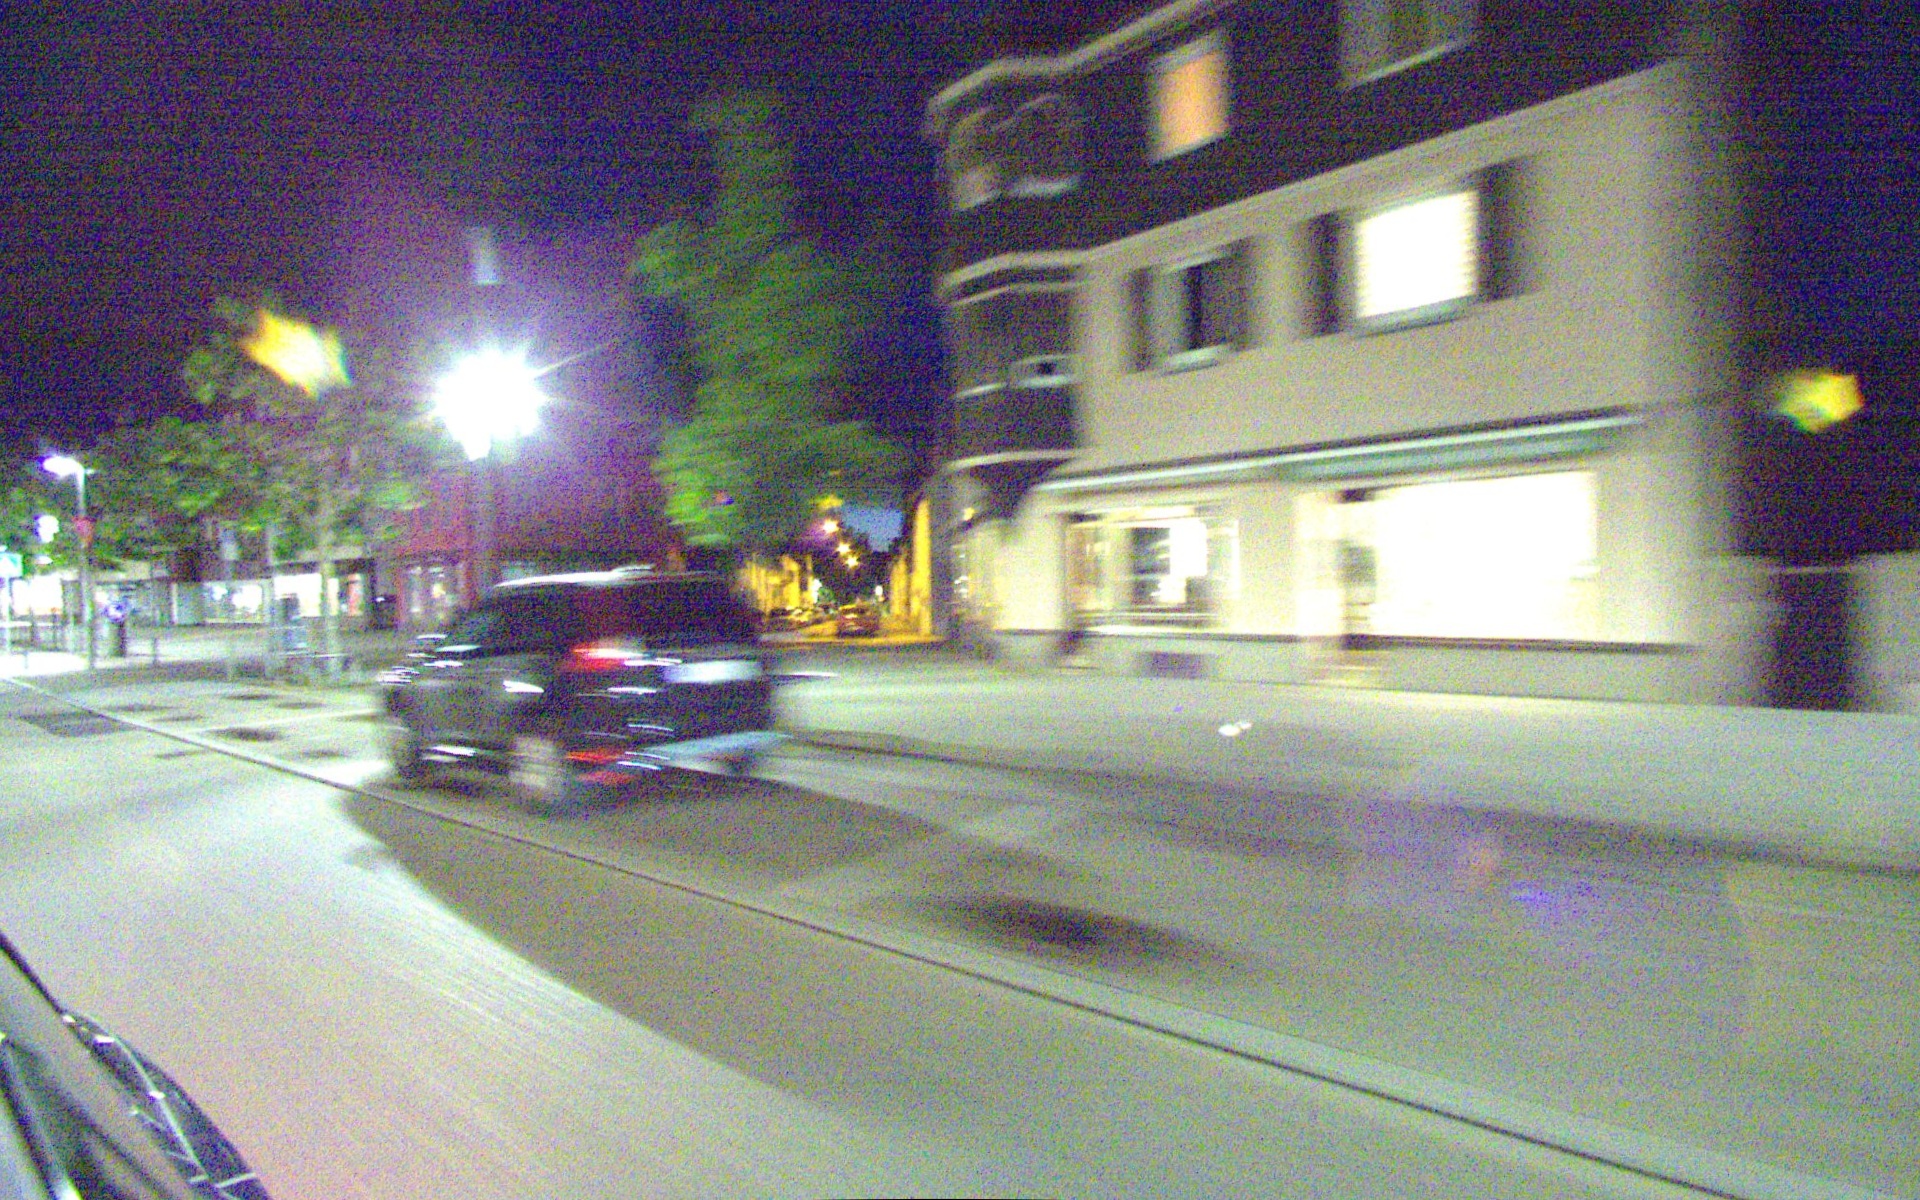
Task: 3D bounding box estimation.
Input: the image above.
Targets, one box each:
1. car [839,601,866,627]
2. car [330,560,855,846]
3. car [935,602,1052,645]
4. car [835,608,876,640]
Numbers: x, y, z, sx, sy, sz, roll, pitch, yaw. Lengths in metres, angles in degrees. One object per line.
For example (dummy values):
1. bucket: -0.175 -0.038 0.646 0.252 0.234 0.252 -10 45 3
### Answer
1. car: -6.921 0.905 65.467 1.552 1.580 3.422 0 1 -3
2. car: -3.335 0.623 8.527 5.001 1.703 1.997 -1 2 42
3. car: 1.166 0.827 36.392 3.937 1.453 1.923 -1 -1 -7
4. car: -4.715 1.095 45.832 1.793 1.386 4.005 0 -2 -5
